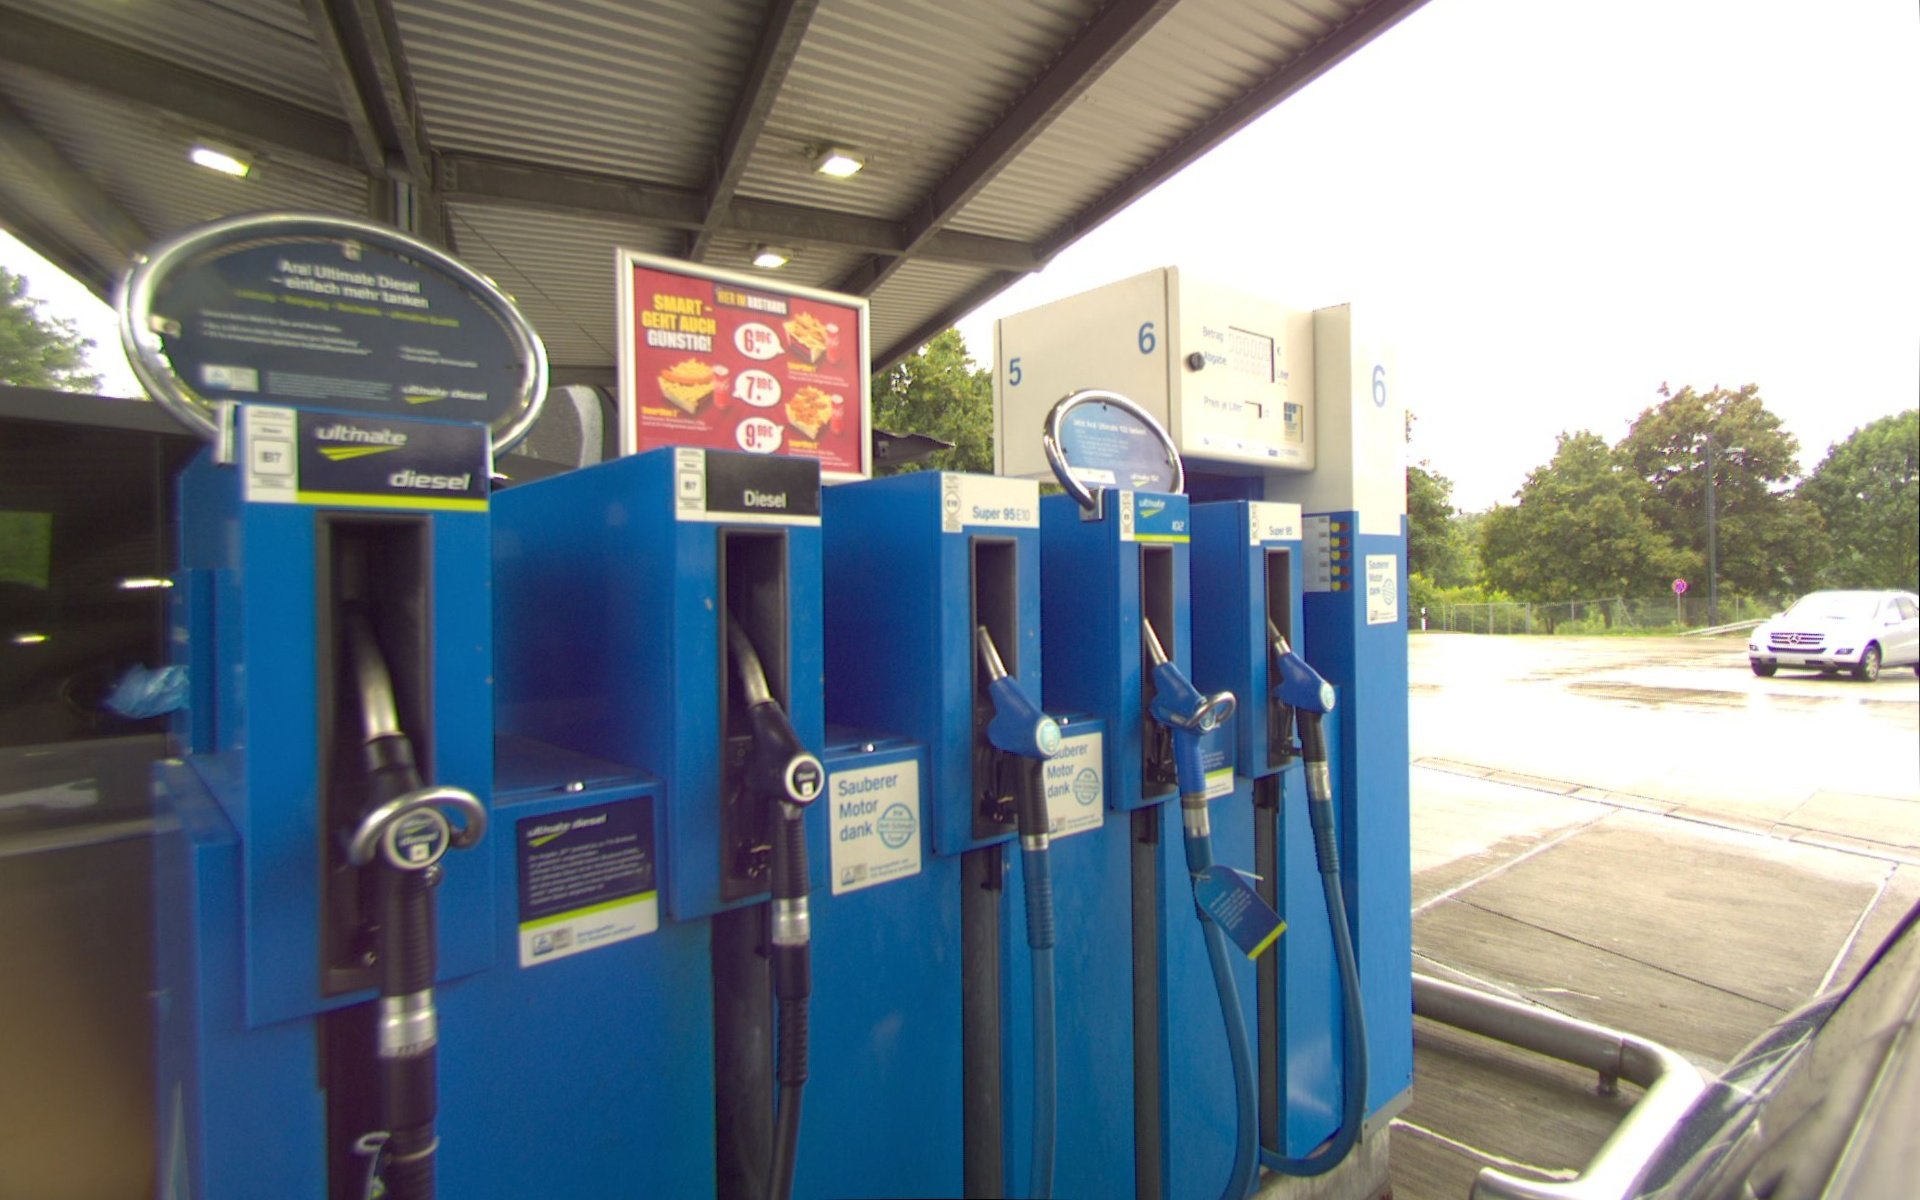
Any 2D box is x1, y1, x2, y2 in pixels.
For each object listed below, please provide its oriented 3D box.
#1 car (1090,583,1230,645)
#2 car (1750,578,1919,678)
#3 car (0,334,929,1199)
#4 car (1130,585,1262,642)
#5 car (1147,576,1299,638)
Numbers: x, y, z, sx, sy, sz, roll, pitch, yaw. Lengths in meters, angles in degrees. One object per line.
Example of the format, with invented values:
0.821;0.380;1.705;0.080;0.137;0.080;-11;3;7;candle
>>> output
5.875;0.378;29.734;3.941;1.680;1.593;1;0;14;car
18.155;0.528;20.378;4.446;1.821;1.870;1;0;-28;car
-2.594;0.503;1.820;5.050;1.821;1.864;-1;0;-41;car
7.429;0.389;31.924;3.941;1.680;1.593;1;0;14;car
8.891;0.211;34.507;4.817;1.974;2.306;1;1;14;car
